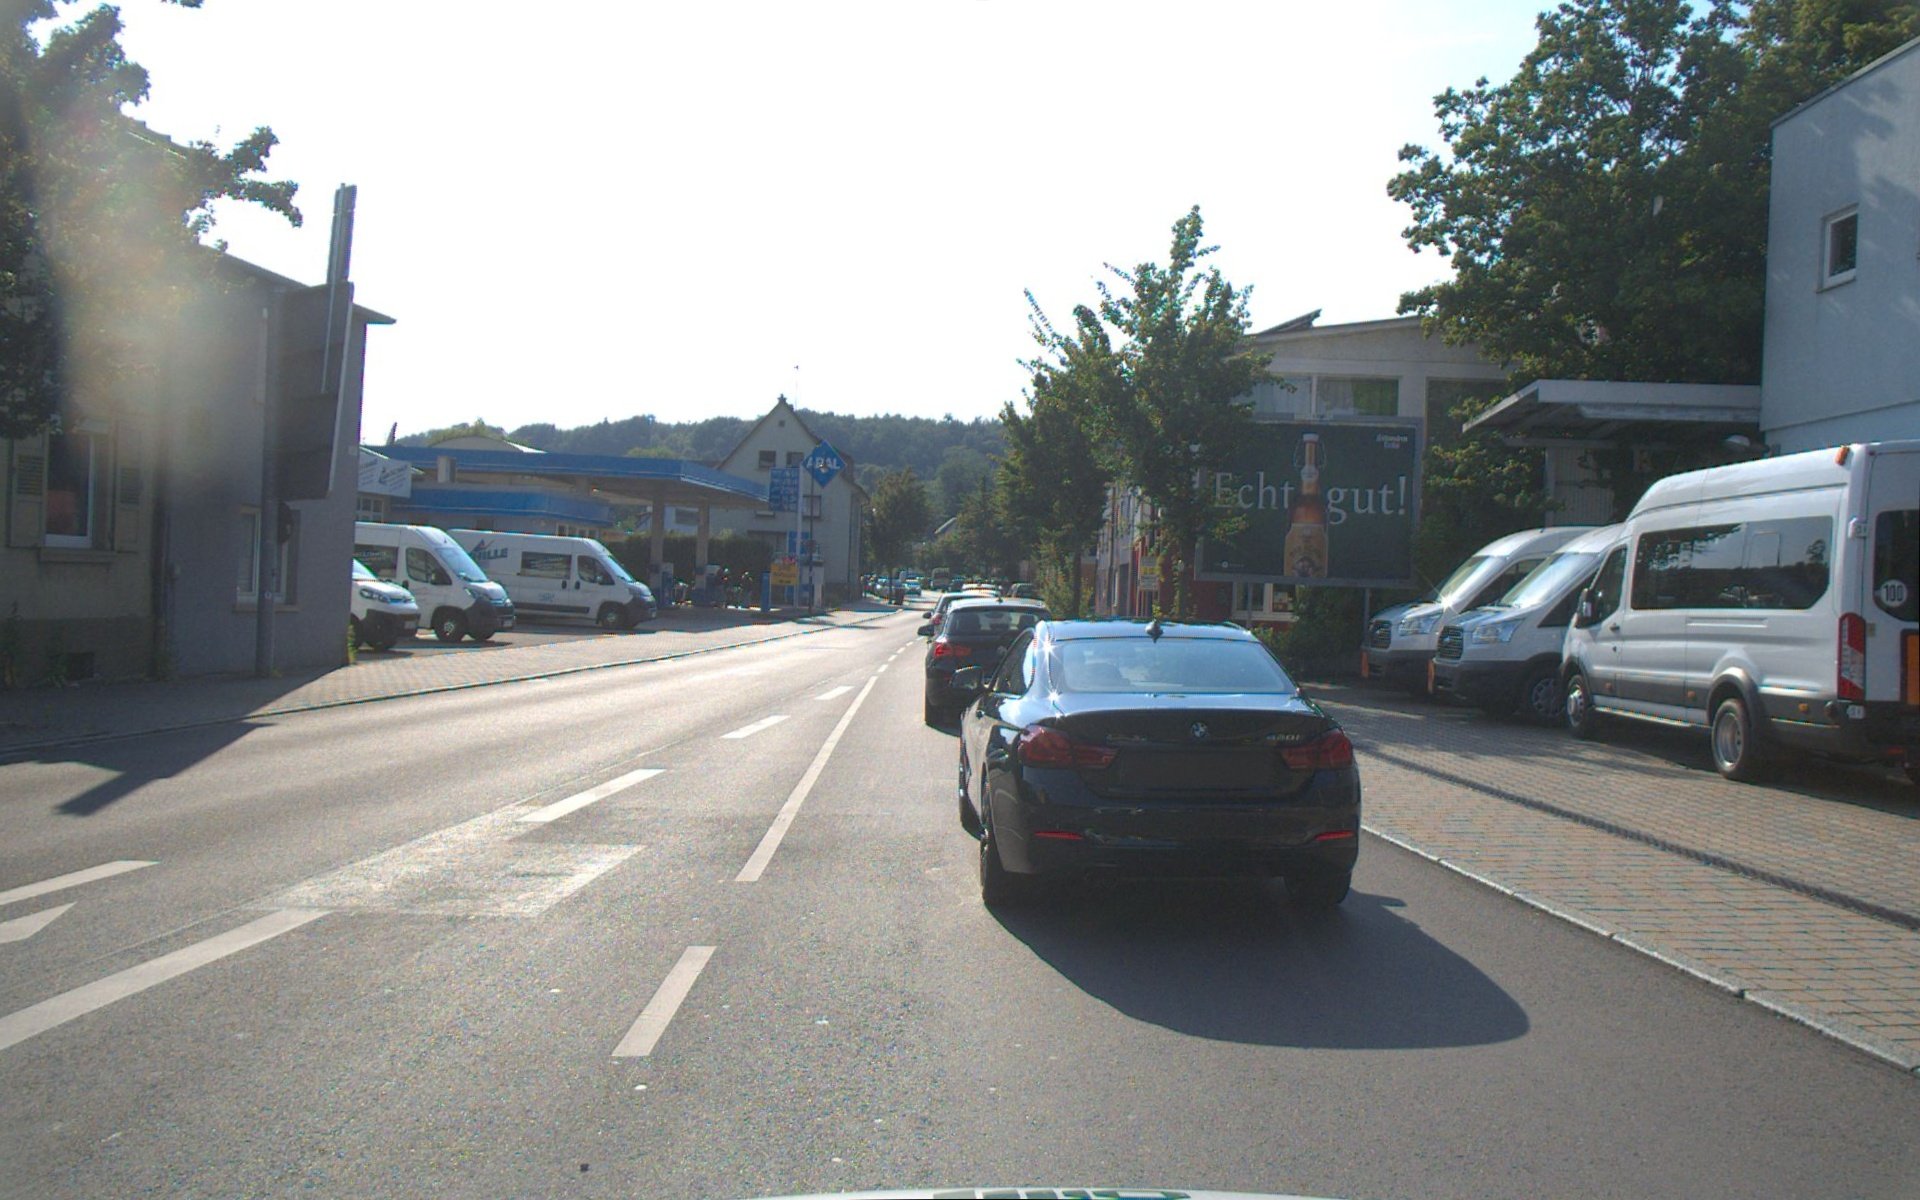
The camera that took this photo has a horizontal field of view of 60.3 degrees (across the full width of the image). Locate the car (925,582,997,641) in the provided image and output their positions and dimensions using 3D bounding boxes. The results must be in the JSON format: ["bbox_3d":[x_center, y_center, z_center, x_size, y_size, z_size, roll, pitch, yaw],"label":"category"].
[{"bbox_3d":[0.072,0.310,48.737,1.558,1.628,3.897,1,1,8],"label":"car"}]

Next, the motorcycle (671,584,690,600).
[{"bbox_3d":[-13.143,-0.364,77.725,0.449,0.742,1.475,1,1,8],"label":"motorcycle"}]

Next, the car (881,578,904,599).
[{"bbox_3d":[-5.037,-0.855,124.588,1.564,1.511,3.474,2,1,-1],"label":"car"}]

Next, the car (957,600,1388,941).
[{"bbox_3d":[0.921,0.744,9.275,1.665,1.393,4.260,1,1,-3],"label":"car"}]

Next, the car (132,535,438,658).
[{"bbox_3d":[-12.559,-0.077,30.956,4.872,2.034,1.936,2,0,3],"label":"car"}]

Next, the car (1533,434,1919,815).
[{"bbox_3d":[7.535,0.147,15.213,2.106,2.727,6.602,1,1,-1],"label":"car"}]

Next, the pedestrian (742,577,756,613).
[{"bbox_3d":[-9.898,-0.246,77.612,0.598,1.699,0.442,1,1,-3],"label":"pedestrian"}]

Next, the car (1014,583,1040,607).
[{"bbox_3d":[4.512,-0.373,112.079,1.564,1.511,3.474,2,1,-1],"label":"car"}]

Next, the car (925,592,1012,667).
[{"bbox_3d":[0.225,0.586,34.955,1.717,1.438,3.423,1,1,2],"label":"car"}]

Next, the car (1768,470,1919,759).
[{"bbox_3d":[10.225,0.165,15.424,2.068,2.769,6.442,1,1,-1],"label":"car"}]

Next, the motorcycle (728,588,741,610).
[{"bbox_3d":[-10.536,-0.051,77.274,0.356,0.960,1.695,1,1,-1],"label":"motorcycle"}]

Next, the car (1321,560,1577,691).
[{"bbox_3d":[7.659,0.376,26.102,3.527,1.927,1.586,1,1,-3],"label":"car"}]

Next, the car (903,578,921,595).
[{"bbox_3d":[-4.415,-1.239,153.556,1.564,1.511,3.474,2,1,-1],"label":"car"}]

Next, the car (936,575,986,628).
[{"bbox_3d":[0.056,0.037,59.086,1.569,1.798,3.412,1,1,3],"label":"car"}]

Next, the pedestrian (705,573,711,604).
[{"bbox_3d":[-11.724,-0.538,76.907,0.257,1.407,0.288,1,0,-5],"label":"pedestrian"}]

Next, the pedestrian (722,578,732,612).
[{"bbox_3d":[-10.963,-0.235,77.722,0.399,1.574,0.432,1,1,-3],"label":"pedestrian"}]

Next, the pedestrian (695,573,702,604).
[{"bbox_3d":[-12.076,-0.529,76.352,0.281,1.390,0.262,1,0,-4],"label":"pedestrian"}]

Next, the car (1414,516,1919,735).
[{"bbox_3d":[8.782,0.291,20.097,5.922,2.404,2.043,1,1,-2],"label":"car"}]

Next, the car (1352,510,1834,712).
[{"bbox_3d":[8.690,0.132,23.057,5.922,2.560,2.043,1,1,-2],"label":"car"}]

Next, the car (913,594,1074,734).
[{"bbox_3d":[0.418,0.692,19.875,1.735,1.481,3.516,1,0,2],"label":"car"}]

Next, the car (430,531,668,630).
[{"bbox_3d":[-11.529,-0.542,46.716,6.032,2.487,2.250,2,1,1],"label":"car"}]

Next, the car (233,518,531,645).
[{"bbox_3d":[-12.824,-0.419,36.920,5.795,2.523,2.195,2,1,5],"label":"car"}]
